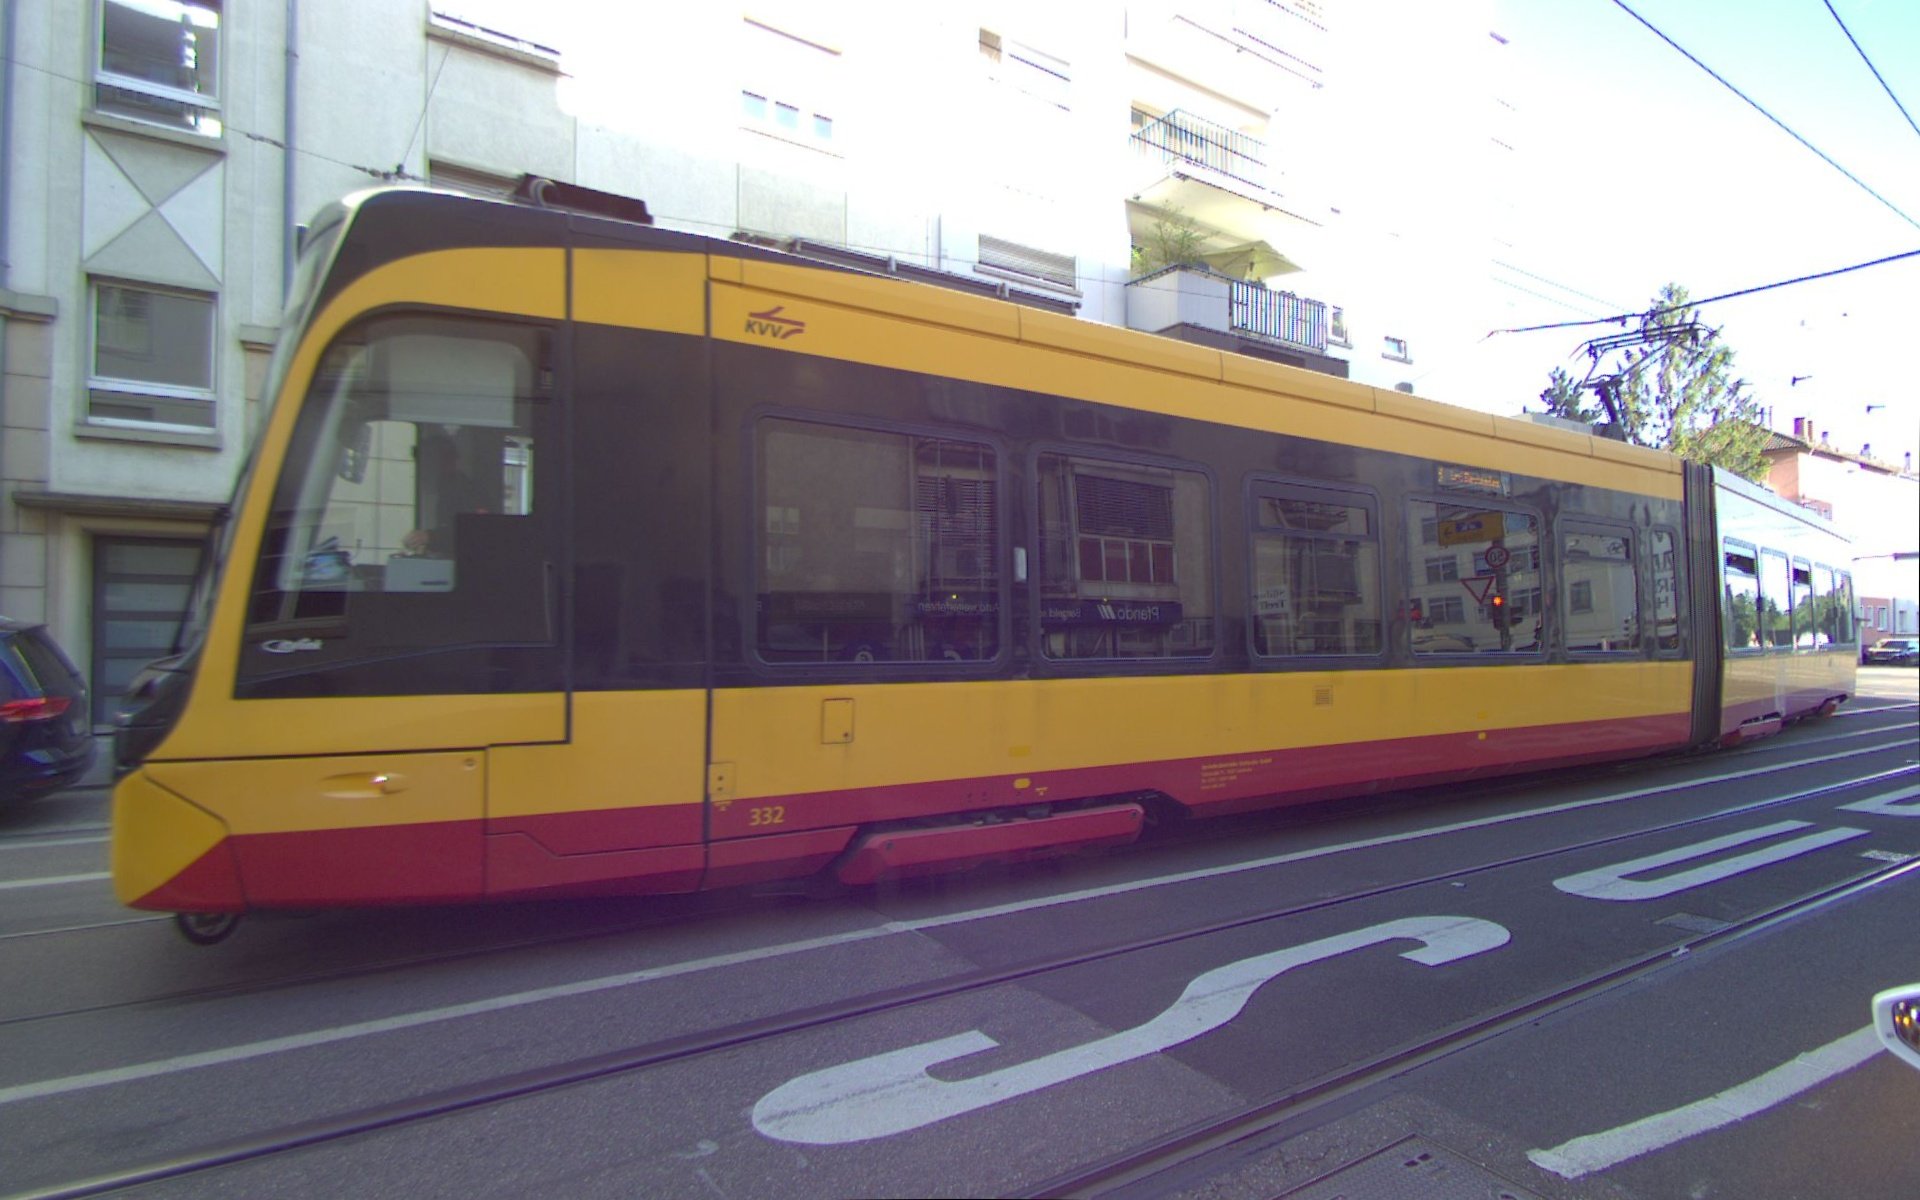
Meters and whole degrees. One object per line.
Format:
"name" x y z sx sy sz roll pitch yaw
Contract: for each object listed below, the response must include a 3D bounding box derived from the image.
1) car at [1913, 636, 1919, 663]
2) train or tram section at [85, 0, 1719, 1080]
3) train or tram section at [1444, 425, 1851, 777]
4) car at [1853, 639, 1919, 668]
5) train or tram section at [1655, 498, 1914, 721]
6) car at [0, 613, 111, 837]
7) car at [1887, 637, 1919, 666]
"car" 58.240 2.971 59.367 4.103 1.531 1.778 2 0 -31
"train or tram section" 1.657 -0.135 7.931 12.500 3.641 3.044 2 -2 -34
"train or tram section" 10.382 0.095 14.585 9.016 3.679 2.799 2 0 -42
"car" 49.610 2.840 53.650 3.949 1.440 1.784 2 0 -31
"train or tram section" 18.927 0.320 22.455 14.166 3.680 2.718 2 0 -44
"car" -9.040 0.893 7.226 4.249 1.606 1.893 2 0 -35
"car" 54.430 2.931 56.757 4.250 1.518 1.806 2 0 -30
